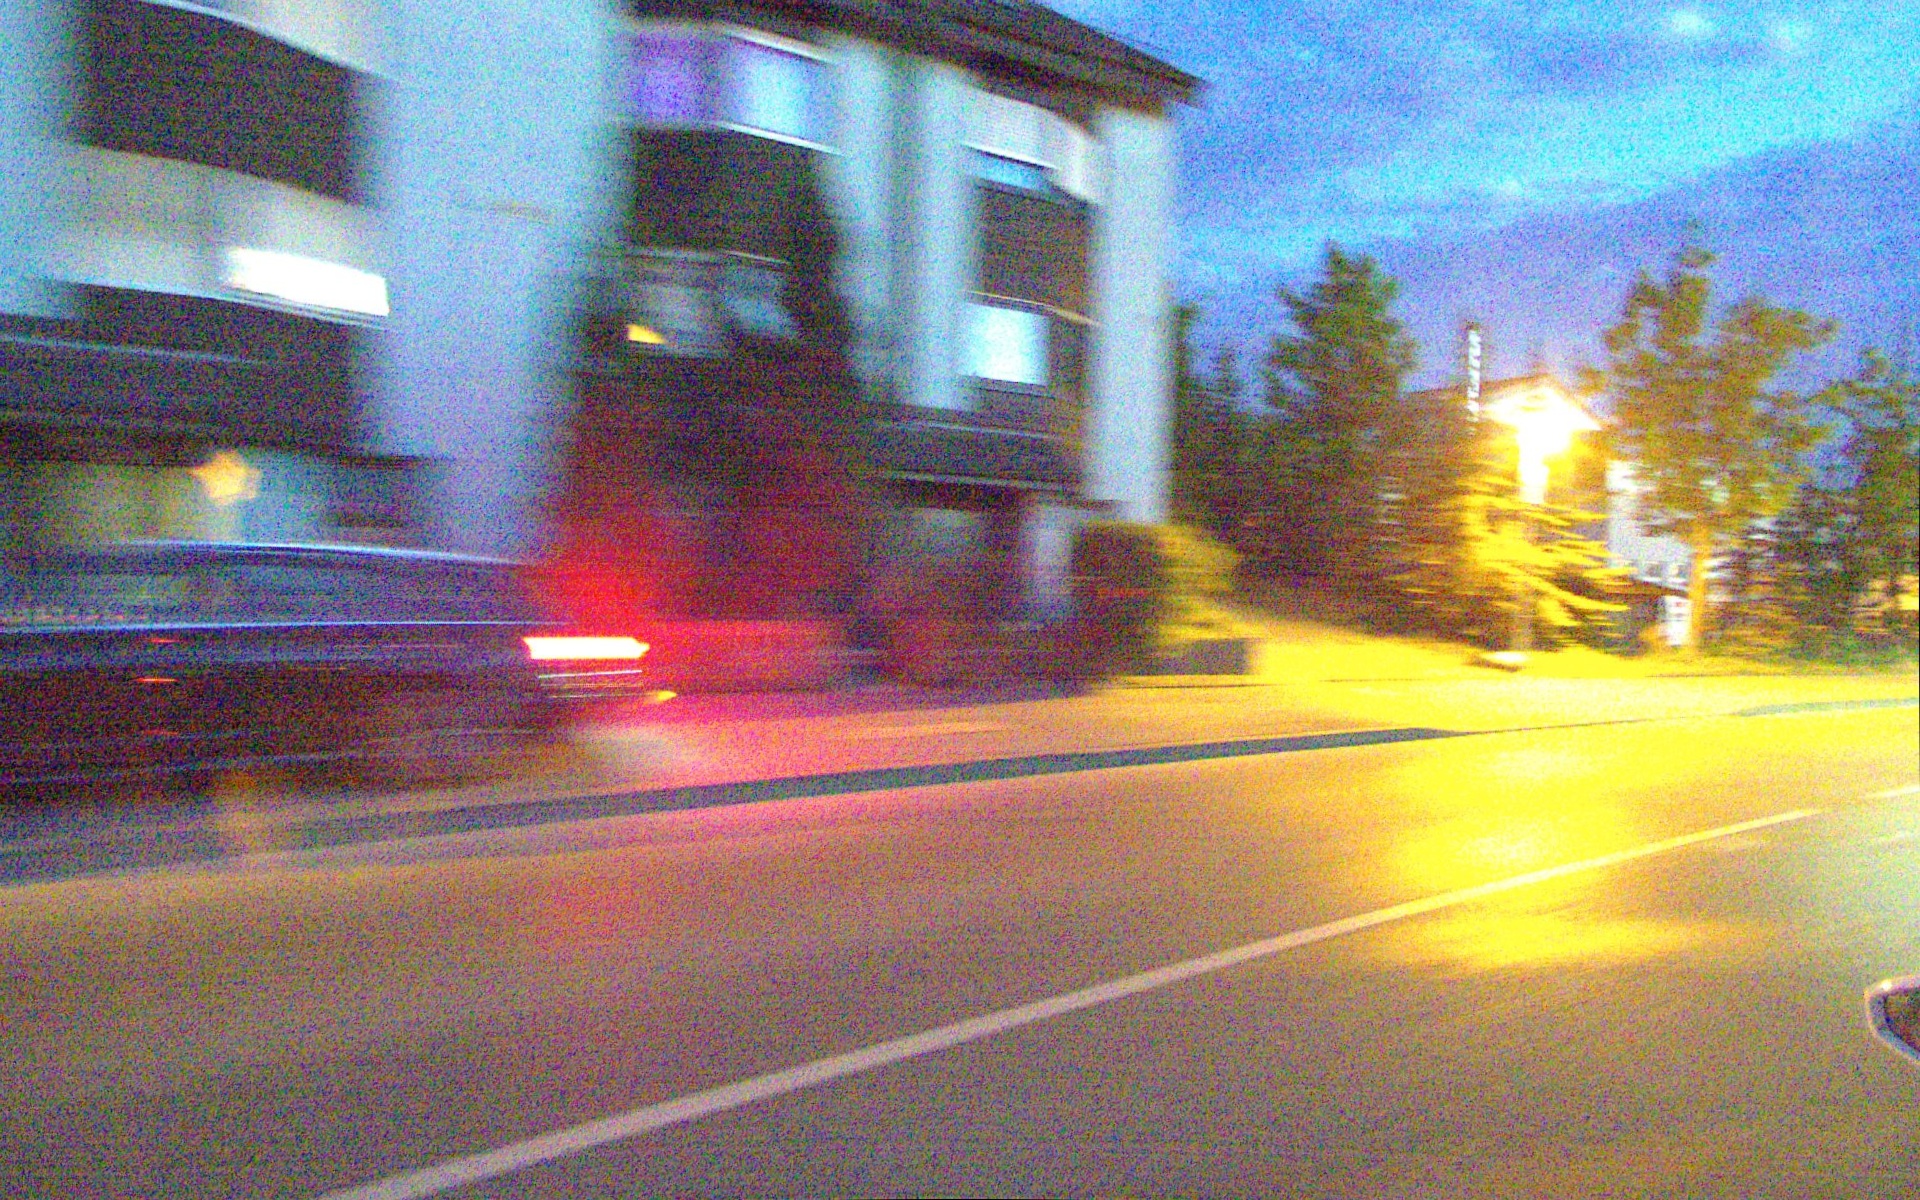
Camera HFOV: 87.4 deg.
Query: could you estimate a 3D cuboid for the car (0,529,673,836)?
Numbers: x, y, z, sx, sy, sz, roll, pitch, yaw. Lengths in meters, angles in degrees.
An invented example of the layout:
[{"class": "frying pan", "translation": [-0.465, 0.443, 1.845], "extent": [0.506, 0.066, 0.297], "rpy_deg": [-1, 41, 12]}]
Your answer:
[{"class": "car", "translation": [-4.426, 0.377, 6.023], "extent": [4.868, 1.464, 1.836], "rpy_deg": [1, 1, -36]}]
